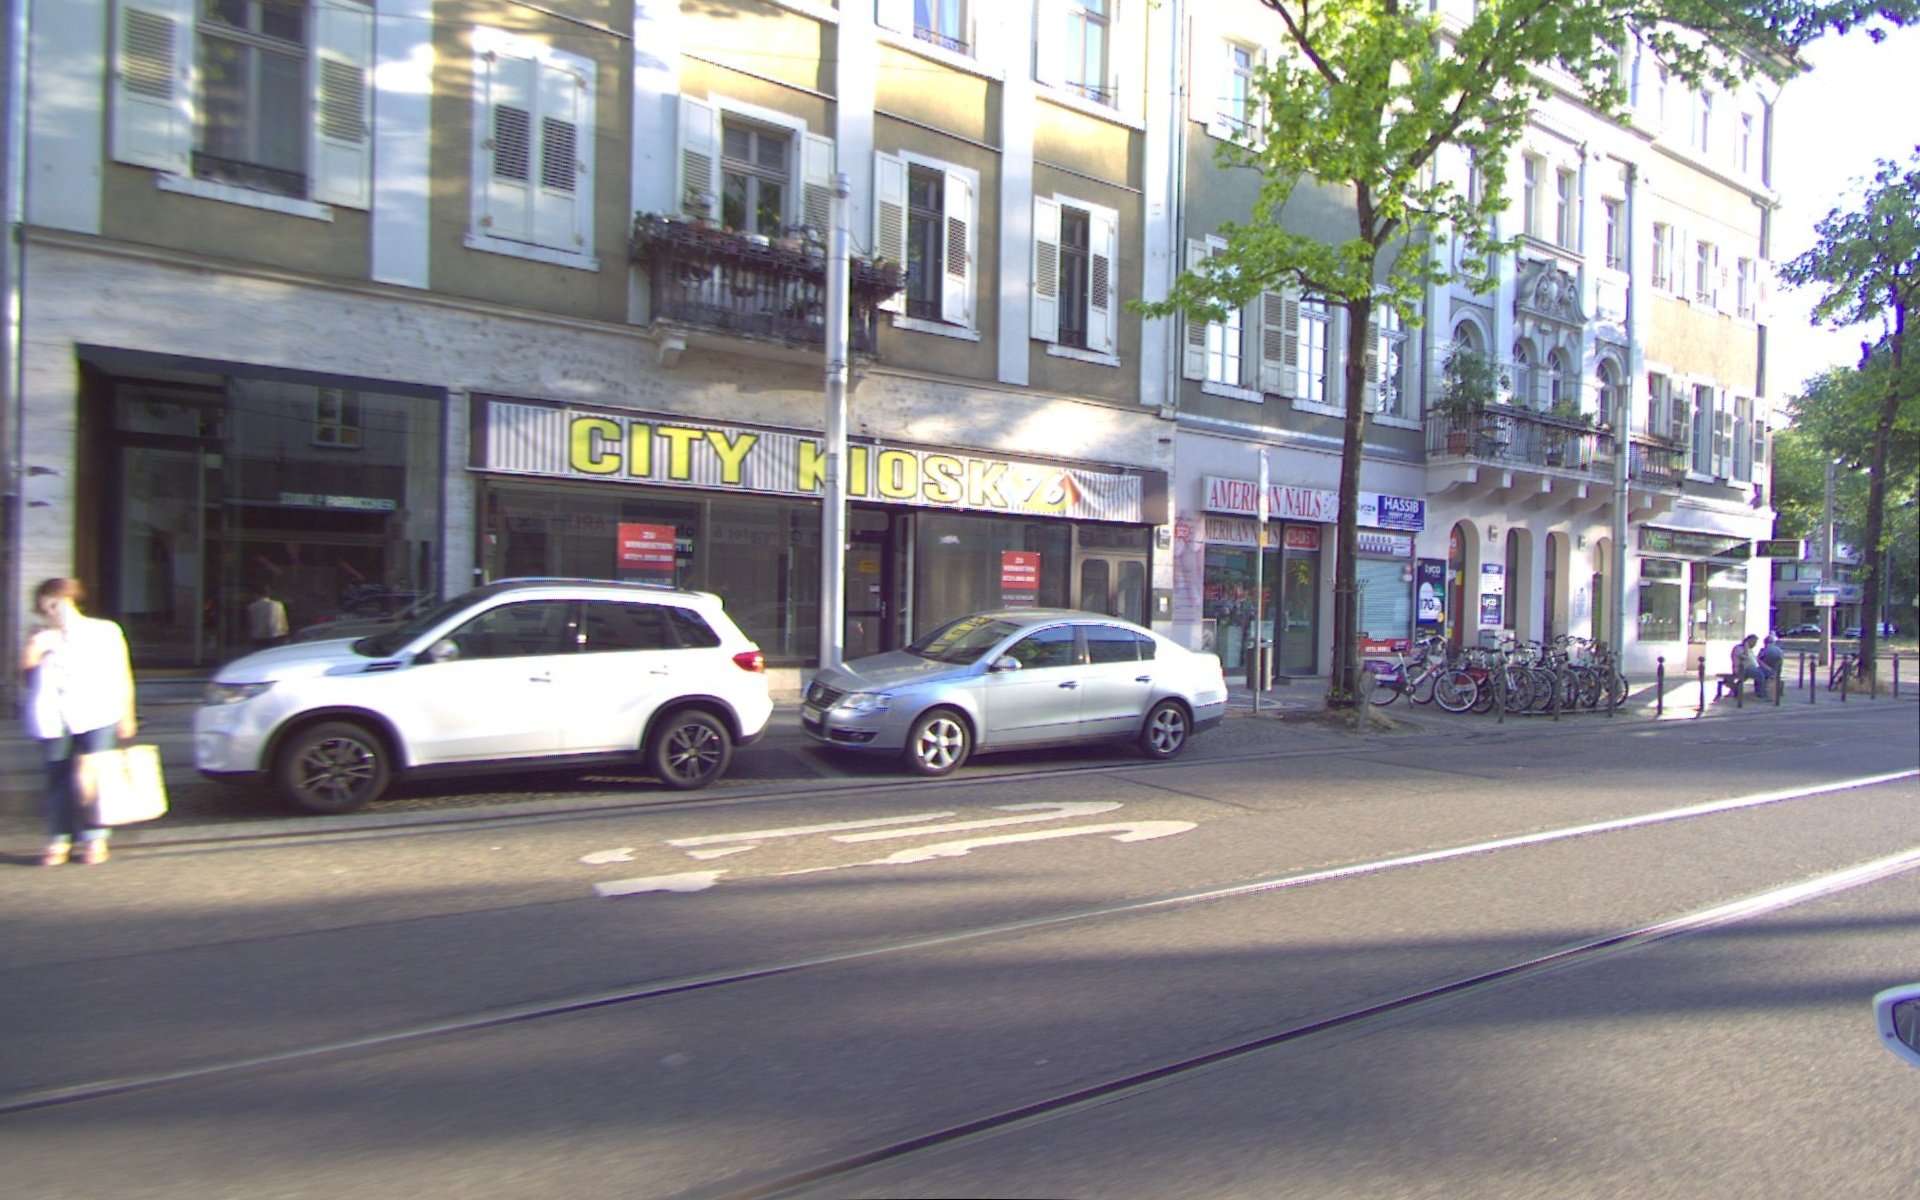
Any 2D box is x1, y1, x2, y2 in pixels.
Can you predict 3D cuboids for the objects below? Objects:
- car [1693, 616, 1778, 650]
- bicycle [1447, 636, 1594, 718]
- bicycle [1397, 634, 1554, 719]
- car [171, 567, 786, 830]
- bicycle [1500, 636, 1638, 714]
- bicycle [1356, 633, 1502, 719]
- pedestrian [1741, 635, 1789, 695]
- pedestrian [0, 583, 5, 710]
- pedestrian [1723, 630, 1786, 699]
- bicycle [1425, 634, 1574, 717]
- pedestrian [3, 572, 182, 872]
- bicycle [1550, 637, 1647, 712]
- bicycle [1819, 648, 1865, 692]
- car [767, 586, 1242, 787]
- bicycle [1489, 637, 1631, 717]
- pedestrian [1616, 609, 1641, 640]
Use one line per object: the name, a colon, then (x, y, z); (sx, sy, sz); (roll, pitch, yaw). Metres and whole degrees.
car: (45.782, 1.913, 59.439); (1.930, 1.699, 4.361); (2, 1, 6)
bicycle: (9.067, 1.222, 16.311); (1.996, 1.119, 0.499); (3, 1, 35)
bicycle: (8.025, 1.159, 15.696); (2.080, 1.119, 0.499); (3, 1, 35)
car: (-3.691, 0.648, 8.194); (4.068, 1.601, 1.827); (1, 3, -30)
bicycle: (10.298, 1.248, 17.076); (0.495, 1.119, 2.016); (2, 1, -27)
bicycle: (7.188, 1.136, 15.436); (1.919, 1.119, 0.566); (3, 1, 35)
pedestrian: (16.935, 1.359, 21.135); (0.635, 1.210, 0.588); (1, 1, -33)
pedestrian: (-5.659, 0.655, 5.300); (0.721, 1.529, 0.617); (2, -1, -30)
pedestrian: (15.805, 1.262, 19.978); (0.847, 1.308, 0.724); (1, 1, -33)
bicycle: (8.562, 1.174, 16.001); (1.996, 1.119, 0.499); (3, 1, 35)
pedestrian: (-4.884, 0.656, 5.696); (0.626, 1.590, 0.518); (2, -1, -30)
bicycle: (11.060, 1.261, 17.478); (0.491, 1.119, 2.031); (3, 1, 5)
bicycle: (20.147, 1.578, 22.940); (1.492, 0.958, 0.335); (1, 0, -30)
car: (0.542, 0.774, 10.452); (4.647, 1.601, 1.827); (1, 3, -30)
bicycle: (9.880, 1.240, 16.638); (0.495, 1.119, 2.016); (2, 1, -27)
pedestrian: (31.047, 1.133, 46.651); (0.730, 1.429, 0.772); (1, 0, 12)
